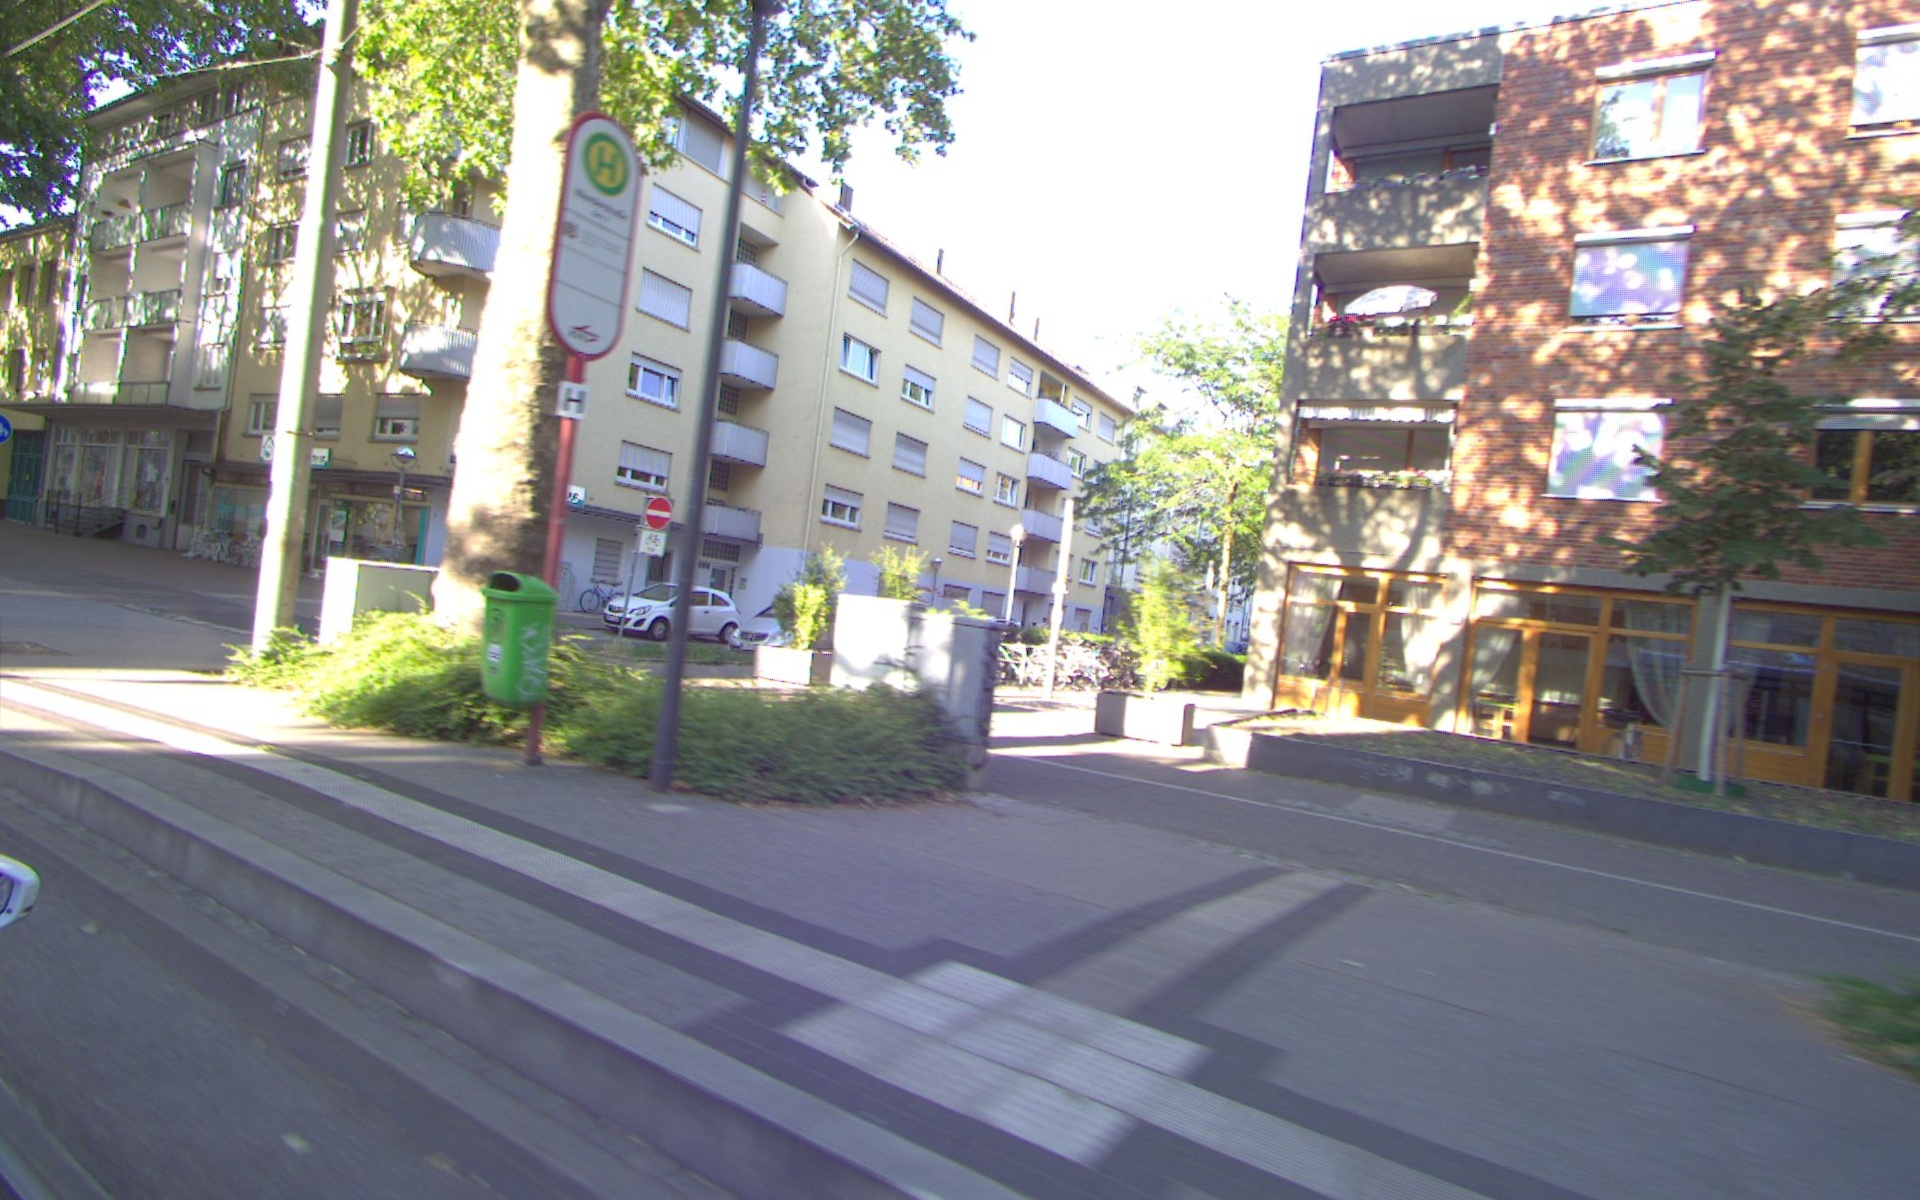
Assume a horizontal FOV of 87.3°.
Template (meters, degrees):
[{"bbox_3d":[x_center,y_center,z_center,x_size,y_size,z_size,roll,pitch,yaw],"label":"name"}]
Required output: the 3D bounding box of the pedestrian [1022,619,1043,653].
[{"bbox_3d":[3.630,1.798,50.288,0.644,1.604,0.772,7,0,26],"label":"pedestrian"}]

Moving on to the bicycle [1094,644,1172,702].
[{"bbox_3d":[4.222,1.762,24.545,1.668,1.172,0.563,7,2,27],"label":"bicycle"}]

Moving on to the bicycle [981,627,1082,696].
[{"bbox_3d":[1.475,1.266,20.972,1.950,1.172,0.636,7,2,34],"label":"bicycle"}]

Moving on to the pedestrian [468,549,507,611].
[{"bbox_3d":[-12.442,-0.527,26.508,0.692,1.558,0.688,7,1,-18],"label":"pedestrian"}]

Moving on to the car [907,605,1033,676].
[{"bbox_3d":[0.361,1.216,29.459,1.835,1.713,3.867,7,0,31],"label":"car"}]

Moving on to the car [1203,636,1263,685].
[{"bbox_3d":[14.498,3.223,53.305,1.835,2.259,3.867,7,0,31],"label":"car"}]

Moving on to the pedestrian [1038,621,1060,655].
[{"bbox_3d":[4.436,1.894,50.075,0.678,1.604,0.772,7,0,26],"label":"pedestrian"}]

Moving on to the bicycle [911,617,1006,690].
[{"bbox_3d":[-0.047,1.003,19.163,1.671,1.172,0.600,7,2,35],"label":"bicycle"}]

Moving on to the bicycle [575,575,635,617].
[{"bbox_3d":[-11.085,-0.122,31.462,0.592,1.171,1.693,7,1,31],"label":"bicycle"}]

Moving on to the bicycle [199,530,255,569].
[{"bbox_3d":[-22.109,-1.521,30.326,1.749,1.010,0.571,7,2,27],"label":"bicycle"}]

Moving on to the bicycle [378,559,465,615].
[{"bbox_3d":[-12.220,-0.277,22.894,0.731,1.171,1.797,6,1,10],"label":"bicycle"}]

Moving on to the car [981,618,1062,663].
[{"bbox_3d":[2.762,1.839,44.657,1.834,1.571,3.867,10,1,31],"label":"car"}]

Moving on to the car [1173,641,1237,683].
[{"bbox_3d":[12.026,3.057,49.263,1.835,1.713,3.867,7,0,31],"label":"car"}]

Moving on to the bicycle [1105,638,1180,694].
[{"bbox_3d":[4.542,1.625,25.116,1.666,1.172,0.521,6,2,21],"label":"bicycle"}]

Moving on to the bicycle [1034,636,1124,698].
[{"bbox_3d":[2.702,1.501,22.840,1.820,1.172,0.661,7,2,31],"label":"bicycle"}]

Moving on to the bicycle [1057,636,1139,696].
[{"bbox_3d":[3.210,1.525,23.528,1.669,1.172,0.661,7,2,31],"label":"bicycle"}]

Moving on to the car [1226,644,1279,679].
[{"bbox_3d":[16.786,3.552,57.531,1.835,1.713,3.867,7,0,31],"label":"car"}]

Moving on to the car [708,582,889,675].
[{"bbox_3d":[-3.525,0.693,22.619,1.835,1.713,3.867,7,0,31],"label":"car"}]

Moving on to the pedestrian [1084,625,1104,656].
[{"bbox_3d":[7.311,2.215,54.805,0.678,1.604,0.772,7,0,26],"label":"pedestrian"}]

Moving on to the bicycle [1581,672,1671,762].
[{"bbox_3d":[9.716,1.687,14.642,1.921,1.171,0.565,5,1,-43],"label":"bicycle"}]

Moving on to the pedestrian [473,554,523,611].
[{"bbox_3d":[-12.721,-0.468,27.705,0.755,1.432,0.841,7,0,23],"label":"pedestrian"}]

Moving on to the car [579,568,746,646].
[{"bbox_3d":[-7.803,0.231,26.694,1.834,1.571,3.867,10,1,31],"label":"car"}]

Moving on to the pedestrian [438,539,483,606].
[{"bbox_3d":[-13.397,-0.721,27.000,0.649,1.703,0.703,7,1,4],"label":"pedestrian"}]

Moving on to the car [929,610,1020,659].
[{"bbox_3d":[0.644,1.445,41.164,1.834,1.571,3.867,10,1,31],"label":"car"}]

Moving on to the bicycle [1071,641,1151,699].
[{"bbox_3d":[3.606,1.668,24.131,1.669,1.172,0.661,7,2,31],"label":"bicycle"}]

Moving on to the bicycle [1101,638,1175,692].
[{"bbox_3d":[4.567,1.661,25.820,1.666,1.172,0.564,6,2,21],"label":"bicycle"}]

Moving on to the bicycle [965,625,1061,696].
[{"bbox_3d":[1.037,1.165,19.783,1.668,1.172,0.601,7,2,27],"label":"bicycle"}]

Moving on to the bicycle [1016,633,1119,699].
[{"bbox_3d":[2.327,1.420,21.959,2.017,1.172,0.731,7,2,32],"label":"bicycle"}]

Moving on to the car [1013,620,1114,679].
[{"bbox_3d":[3.619,1.736,34.545,1.835,1.713,3.867,7,0,31],"label":"car"}]
